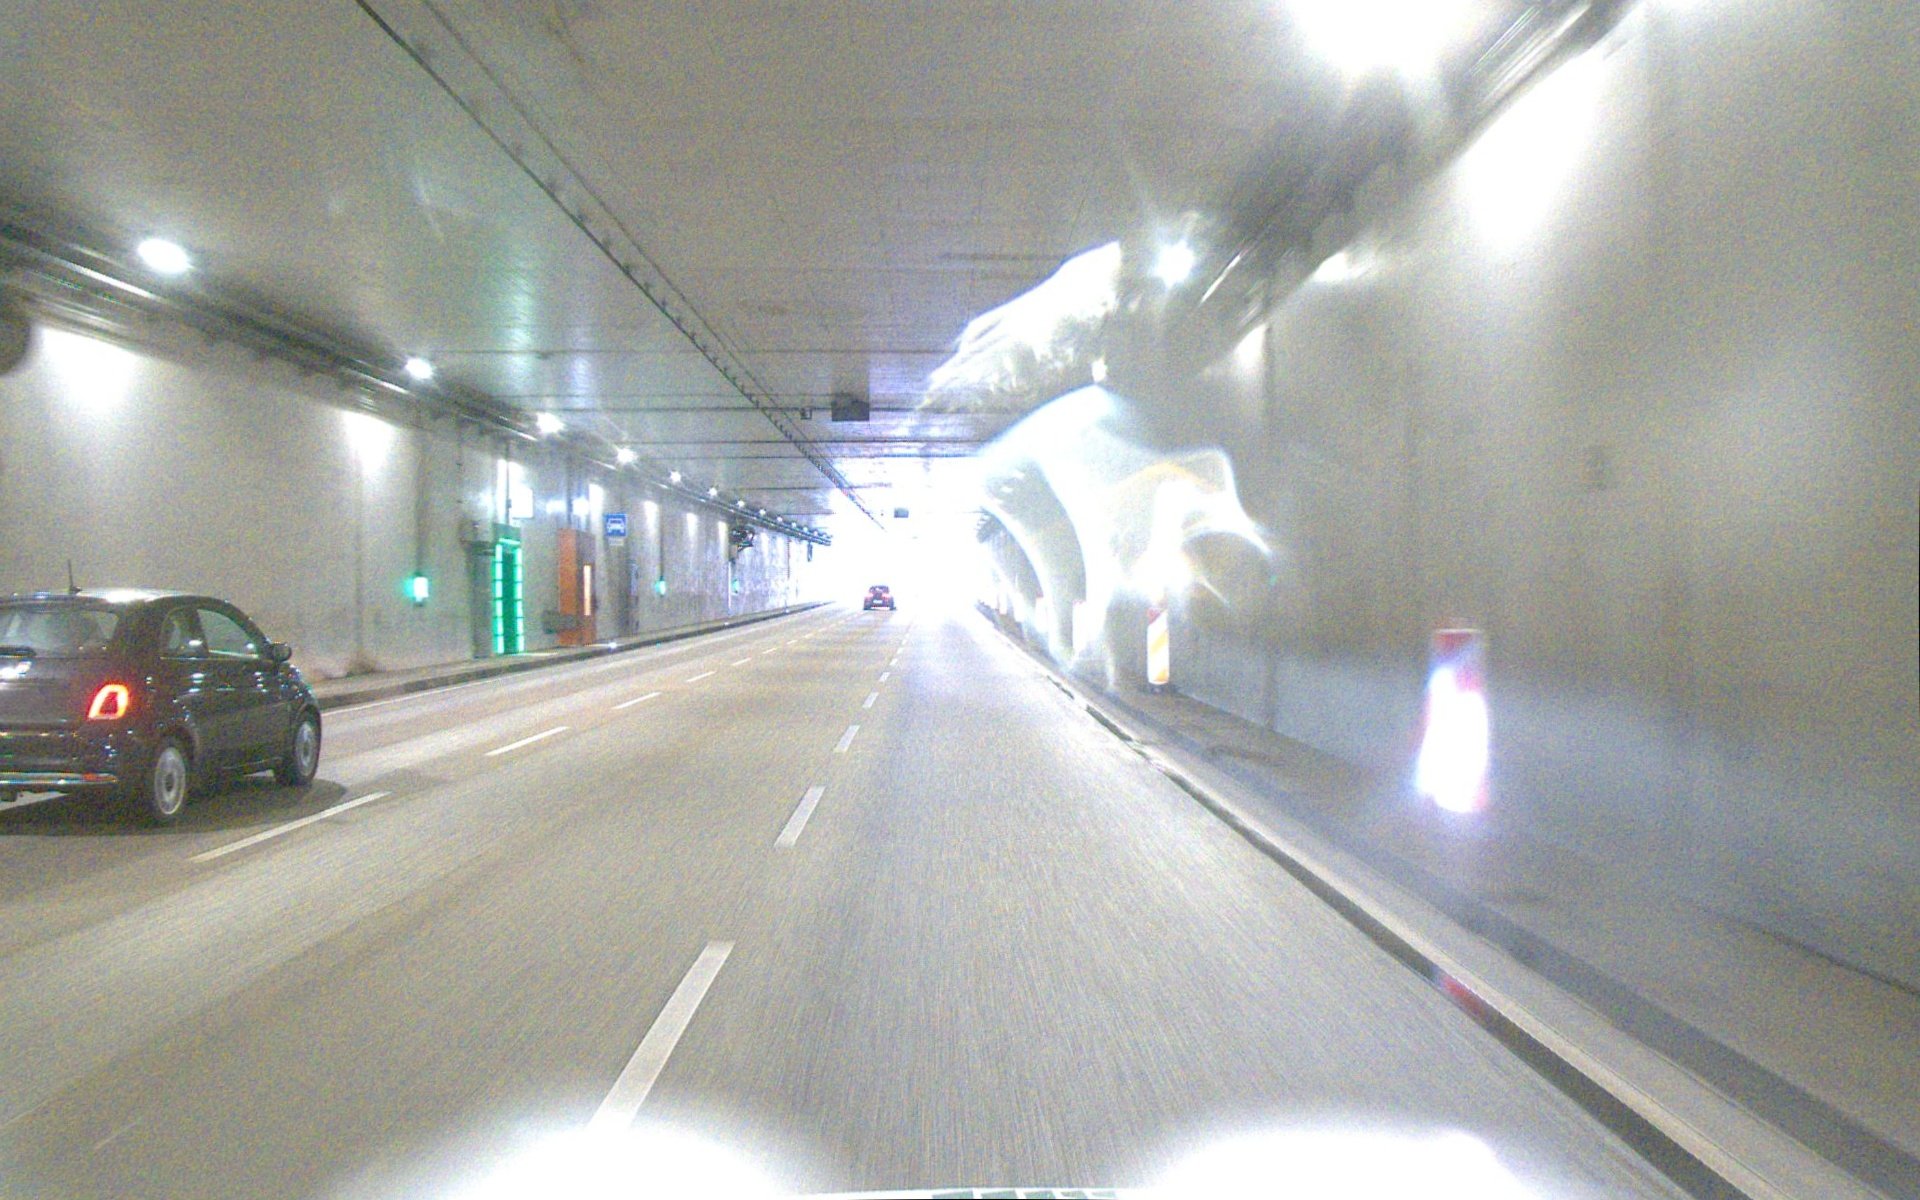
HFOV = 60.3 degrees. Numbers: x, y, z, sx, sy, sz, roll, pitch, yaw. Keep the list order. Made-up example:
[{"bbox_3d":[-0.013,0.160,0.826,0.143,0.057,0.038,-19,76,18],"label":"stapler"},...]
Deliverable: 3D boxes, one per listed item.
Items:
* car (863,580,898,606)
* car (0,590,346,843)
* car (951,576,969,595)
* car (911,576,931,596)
[{"bbox_3d":[-4.781,-0.424,99.181,1.954,1.473,4.311,1,0,-4],"label":"car"},{"bbox_3d":[-5.656,0.675,11.494,1.580,1.480,3.571,0,0,-3],"label":"car"},{"bbox_3d":[-0.030,-1.632,183.431,1.953,2.049,3.999,0,0,-1],"label":"car"},{"bbox_3d":[-3.976,-1.410,169.013,1.953,2.049,3.999,0,0,-1],"label":"car"}]
